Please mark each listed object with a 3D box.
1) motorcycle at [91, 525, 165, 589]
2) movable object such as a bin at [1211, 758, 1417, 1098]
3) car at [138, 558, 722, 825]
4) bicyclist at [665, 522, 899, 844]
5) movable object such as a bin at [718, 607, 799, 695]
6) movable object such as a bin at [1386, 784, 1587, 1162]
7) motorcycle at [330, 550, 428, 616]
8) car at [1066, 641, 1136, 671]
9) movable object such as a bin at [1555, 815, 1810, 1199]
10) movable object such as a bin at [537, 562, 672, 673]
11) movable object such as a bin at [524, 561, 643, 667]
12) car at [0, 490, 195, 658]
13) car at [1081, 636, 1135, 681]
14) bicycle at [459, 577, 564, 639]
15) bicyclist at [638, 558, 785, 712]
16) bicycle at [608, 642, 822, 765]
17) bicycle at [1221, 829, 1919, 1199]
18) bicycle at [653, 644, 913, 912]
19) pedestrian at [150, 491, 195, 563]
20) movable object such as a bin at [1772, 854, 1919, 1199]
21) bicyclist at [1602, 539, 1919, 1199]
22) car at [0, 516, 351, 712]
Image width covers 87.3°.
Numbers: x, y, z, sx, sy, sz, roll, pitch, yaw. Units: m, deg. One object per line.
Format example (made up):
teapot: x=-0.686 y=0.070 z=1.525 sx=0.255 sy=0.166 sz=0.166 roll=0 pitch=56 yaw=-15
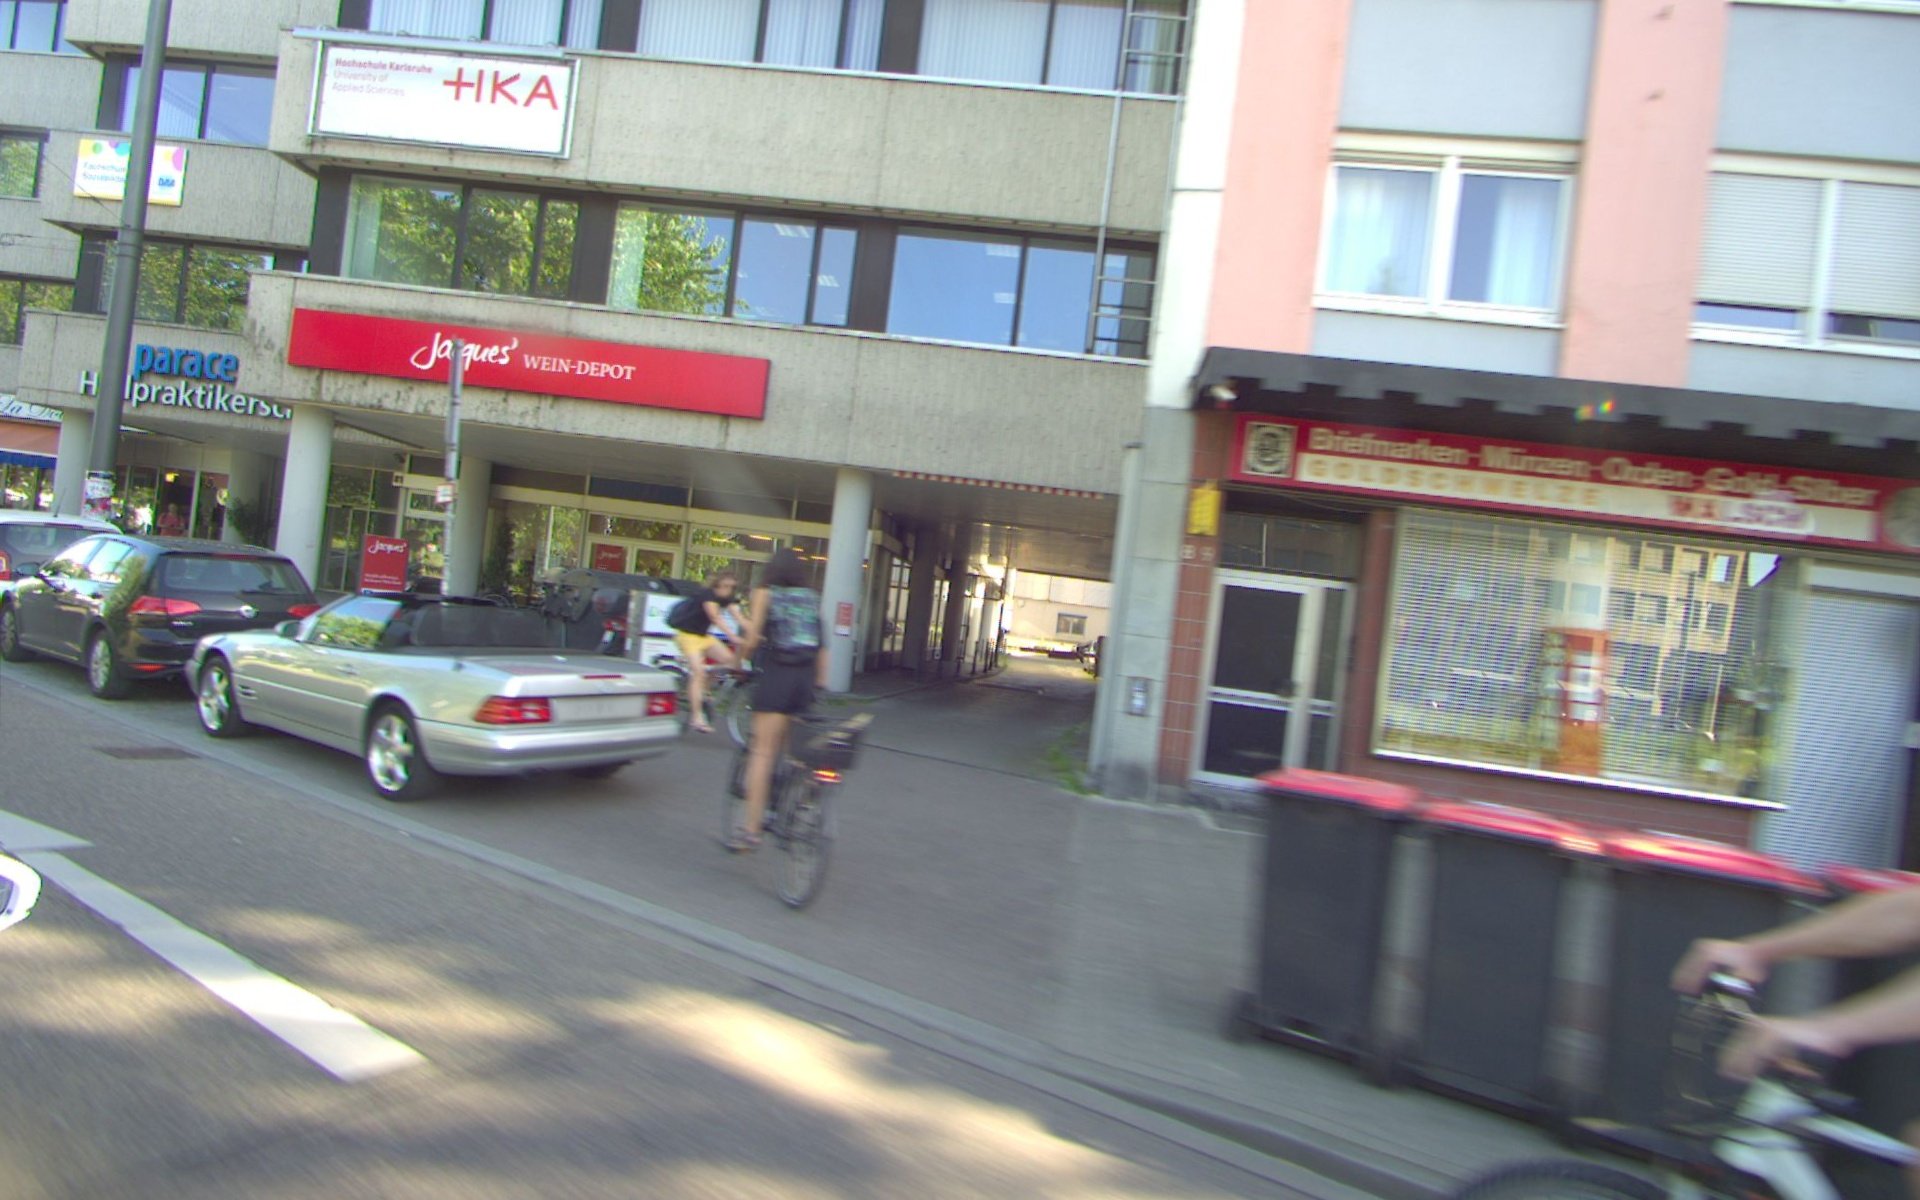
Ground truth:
motorcycle: x=-16.458 y=-0.862 z=19.890 sx=2.019 sy=1.169 sz=0.762 roll=4 pitch=0 yaw=41
movable object such as a bin: x=1.414 y=1.225 z=3.979 sx=0.594 sy=1.095 sz=0.594 roll=5 pitch=-3 yaw=28
car: x=-4.264 y=0.594 z=7.918 sx=4.523 sy=1.359 sz=1.856 roll=5 pitch=-4 yaw=30
bicyclist: x=-1.051 y=0.479 z=5.830 sx=0.931 sy=1.651 sz=0.930 roll=8 pitch=-3 yaw=-27
movable object such as a bin: x=-2.884 y=0.734 z=14.423 sx=0.712 sy=1.146 sz=0.744 roll=5 pitch=-3 yaw=37
movable object such as a bin: x=1.919 y=1.293 z=3.693 sx=0.517 sy=1.118 sz=0.612 roll=5 pitch=-3 yaw=28
motorcycle: x=-12.813 y=-0.385 z=22.175 sx=2.062 sy=1.181 sz=0.513 roll=7 pitch=-2 yaw=20
car: x=8.603 y=3.408 z=61.668 sx=3.925 sy=1.370 sz=2.001 roll=7 pitch=-1 yaw=1
movable object such as a bin: x=2.387 y=1.336 z=3.390 sx=0.536 sy=1.081 sz=0.606 roll=5 pitch=-3 yaw=28
movable object such as a bin: x=-5.179 y=0.270 z=14.689 sx=1.105 sy=1.413 sz=1.336 roll=5 pitch=-3 yaw=39
movable object such as a bin: x=-5.869 y=0.229 z=15.707 sx=0.945 sy=1.449 sz=1.301 roll=5 pitch=-3 yaw=39
car: x=-11.619 y=-0.374 z=12.564 sx=3.803 sy=1.707 sz=1.856 roll=5 pitch=-3 yaw=31
car: x=6.325 y=2.564 z=43.504 sx=1.962 sy=1.603 sz=4.007 roll=6 pitch=-3 yaw=6
bicycle: x=-9.240 y=0.169 z=20.779 sx=1.835 sy=0.992 sz=0.678 roll=9 pitch=-2 yaw=-25
bicyclist: x=-2.384 y=0.348 z=9.714 sx=0.976 sy=1.341 sz=0.761 roll=6 pitch=-3 yaw=22
bicycle: x=-2.380 y=0.973 z=9.710 sx=2.033 sy=0.901 sz=0.536 roll=5 pitch=-3 yaw=25
bicycle: x=1.611 y=1.175 z=1.575 sx=2.192 sy=1.148 sz=0.888 roll=5 pitch=-3 yaw=31
bicycle: x=-1.112 y=0.938 z=5.840 sx=0.813 sy=1.198 sz=1.952 roll=8 pitch=-3 yaw=-27
pedestrian: x=-21.381 y=-1.961 z=27.303 sx=0.702 sy=1.836 sz=0.708 roll=9 pitch=-3 yaw=-43
movable object such as a bin: x=2.943 y=1.397 z=3.018 sx=0.603 sy=1.081 sz=0.608 roll=5 pitch=-3 yaw=27
bicyclist: x=1.665 y=0.753 z=1.584 sx=0.972 sy=1.500 sz=1.040 roll=5 pitch=-3 yaw=31
car: x=-8.203 y=0.094 z=10.261 sx=4.132 sy=1.535 sz=1.674 roll=5 pitch=-4 yaw=34
